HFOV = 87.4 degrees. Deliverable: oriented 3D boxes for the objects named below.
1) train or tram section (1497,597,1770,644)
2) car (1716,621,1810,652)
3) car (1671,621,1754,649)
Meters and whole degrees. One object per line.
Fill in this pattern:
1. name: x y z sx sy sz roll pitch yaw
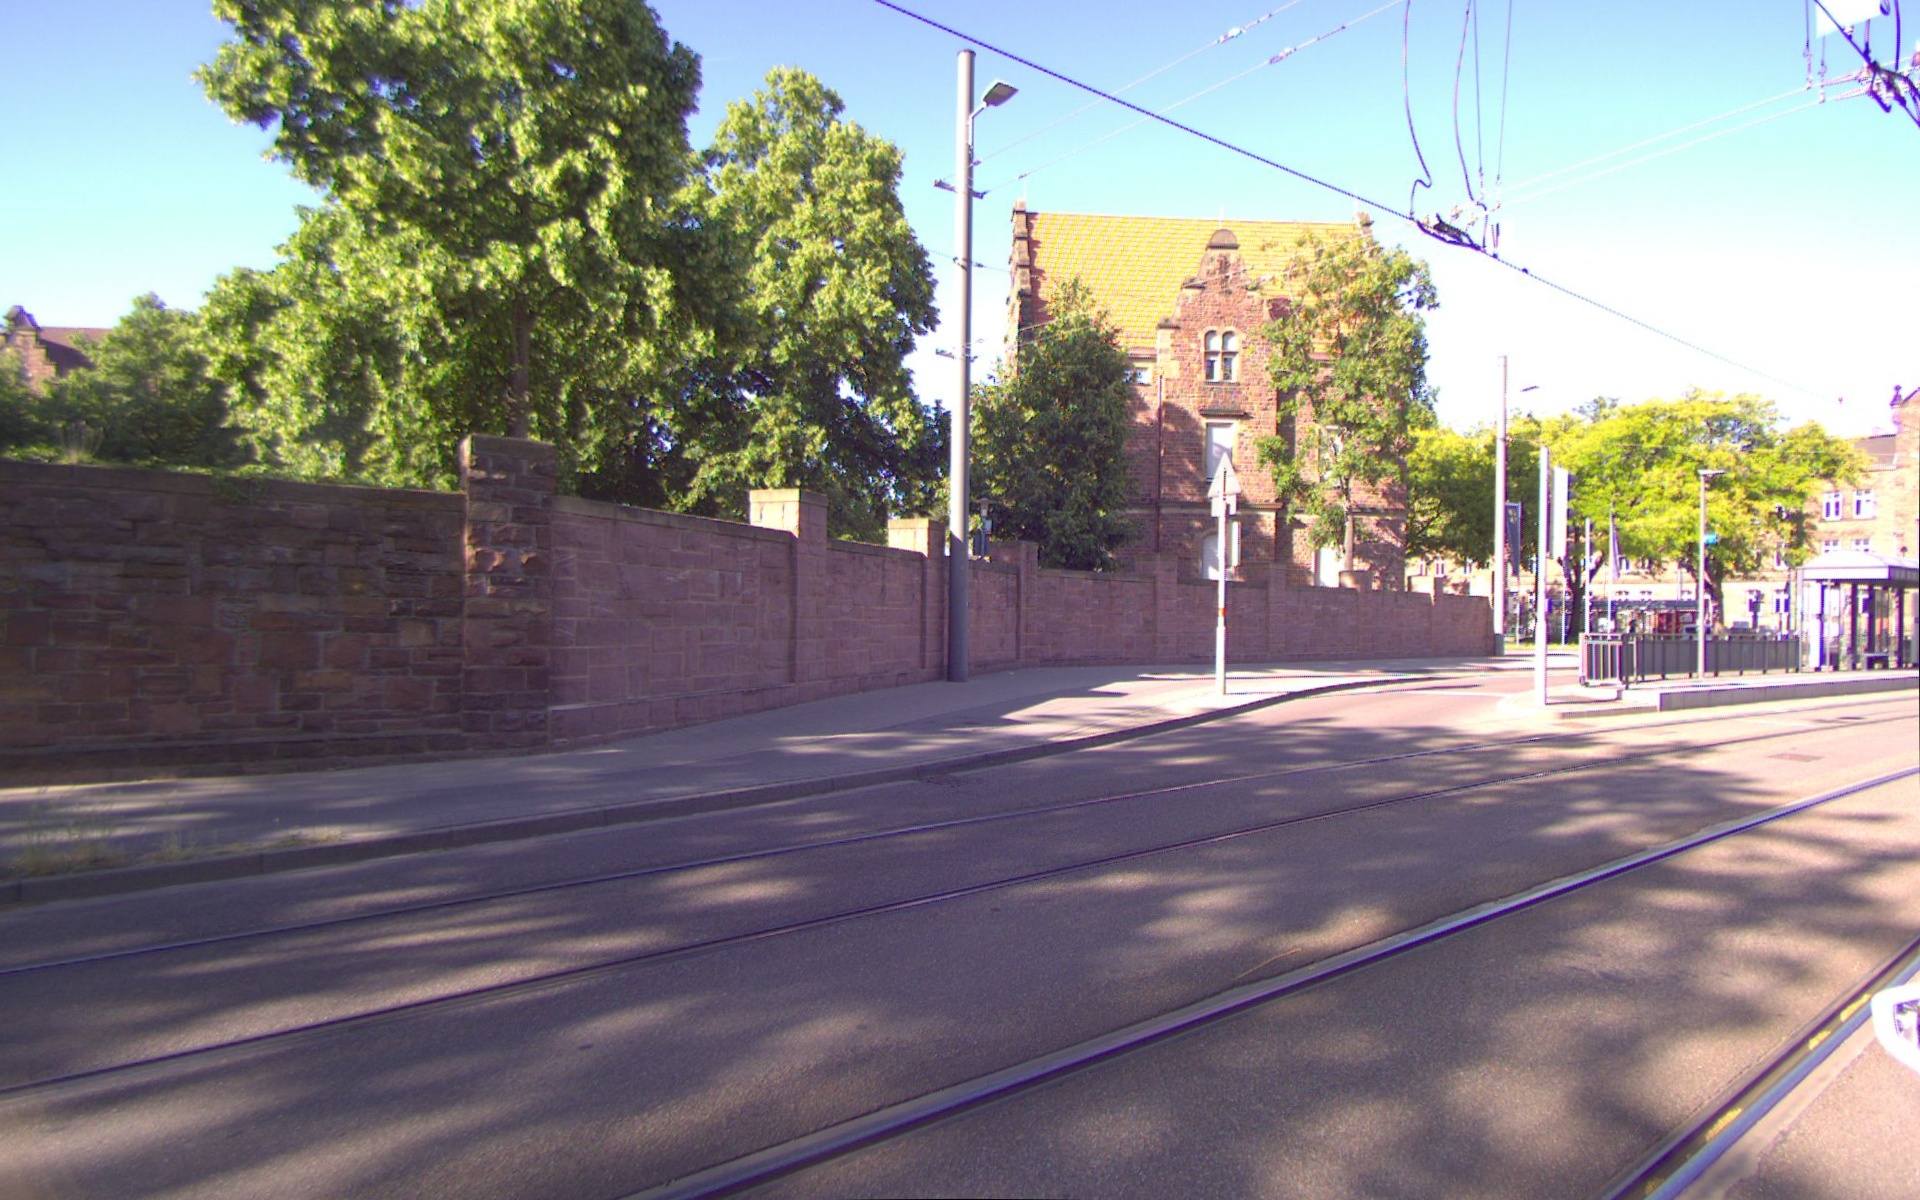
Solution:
1. train or tram section: 50.028 1.465 75.883 3.312 3.196 17.280 2 -1 -33
2. car: 47.753 2.165 59.794 1.798 1.651 3.964 2 0 -32
3. car: 49.178 2.248 65.678 1.798 1.651 3.964 2 0 -32
